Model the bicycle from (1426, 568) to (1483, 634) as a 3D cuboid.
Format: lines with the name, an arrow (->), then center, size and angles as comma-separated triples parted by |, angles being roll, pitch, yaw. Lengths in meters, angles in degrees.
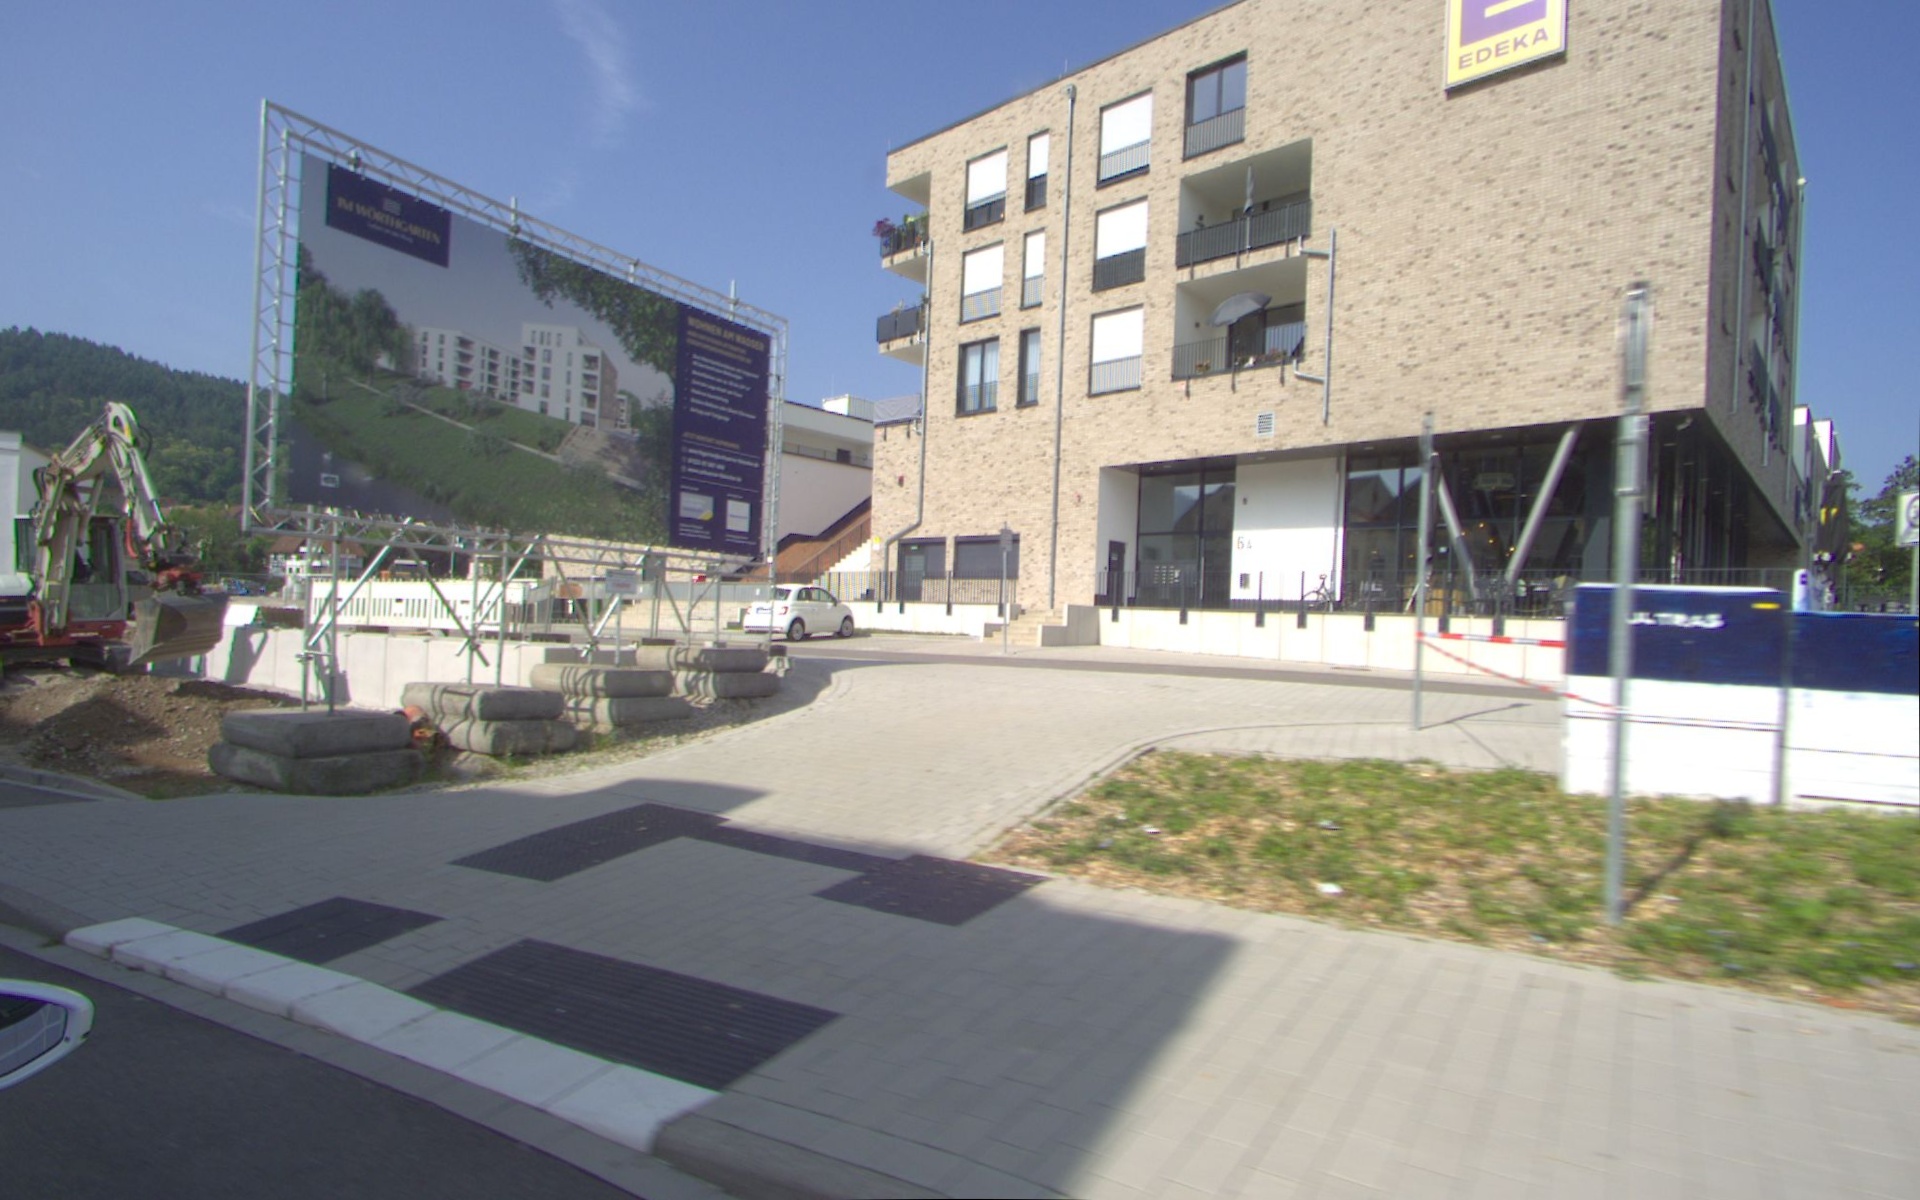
bicycle -> 10.393, 0.044, 20.992 | 0.844, 1.158, 2.237 | 3, -3, 31

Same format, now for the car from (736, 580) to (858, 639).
car -> -4.405, 0.293, 27.458 | 1.570, 1.514, 3.403 | 0, -1, 28

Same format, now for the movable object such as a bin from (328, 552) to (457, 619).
movable object such as a bin -> -23.906, -0.566, 42.243 | 4.570, 2.603, 1.911 | 2, 0, -36

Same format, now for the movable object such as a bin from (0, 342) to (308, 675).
movable object such as a bin -> -12.937, -1.080, 14.889 | 7.687, 3.900, 2.293 | 1, -4, 33

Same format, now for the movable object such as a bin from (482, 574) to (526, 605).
movable object such as a bin -> -20.874, -0.475, 45.827 | 1.304, 1.283, 1.292 | 2, -3, 39

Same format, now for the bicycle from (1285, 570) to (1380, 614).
bicycle -> 9.800, -0.225, 26.403 | 2.220, 1.057, 0.688 | 2, -3, 44

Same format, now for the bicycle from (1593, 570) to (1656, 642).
bicycle -> 12.537, 0.140, 18.946 | 0.844, 1.158, 2.237 | 3, -3, 31

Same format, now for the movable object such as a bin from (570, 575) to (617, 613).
movable object such as a bin -> -15.514, -0.259, 42.358 | 1.304, 1.482, 1.295 | 2, -3, 39

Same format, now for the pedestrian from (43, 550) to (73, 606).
pedestrian -> -32.187, -0.772, 35.720 | 0.630, 1.920, 0.601 | 6, -3, -44

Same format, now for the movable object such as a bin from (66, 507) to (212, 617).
movable object such as a bin -> -31.535, -1.294, 38.767 | 2.817, 3.666, 5.713 | 6, -3, -26

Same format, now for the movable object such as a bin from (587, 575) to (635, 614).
movable object such as a bin -> -14.465, -0.221, 41.473 | 1.304, 1.482, 1.295 | 2, -3, 39

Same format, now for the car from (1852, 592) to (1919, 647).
car -> 26.633, 0.564, 27.302 | 3.290, 1.367, 1.482 | 2, -3, 38

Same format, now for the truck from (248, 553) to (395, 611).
truck -> -27.731, -0.732, 43.612 | 5.265, 2.295, 2.203 | 2, 0, -35

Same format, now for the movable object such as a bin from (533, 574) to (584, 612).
movable object such as a bin -> -17.809, -0.313, 44.480 | 1.304, 1.482, 1.575 | 2, -3, 39

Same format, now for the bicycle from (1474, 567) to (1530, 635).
bicycle -> 11.011, 0.052, 20.301 | 0.844, 1.158, 2.237 | 3, -3, 31

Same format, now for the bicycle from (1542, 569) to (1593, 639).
bicycle -> 11.819, 0.106, 19.498 | 0.755, 1.158, 2.237 | 3, -3, 31

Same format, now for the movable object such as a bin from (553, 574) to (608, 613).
movable object such as a bin -> -16.474, -0.278, 43.468 | 1.304, 1.482, 1.688 | 2, -3, 39
